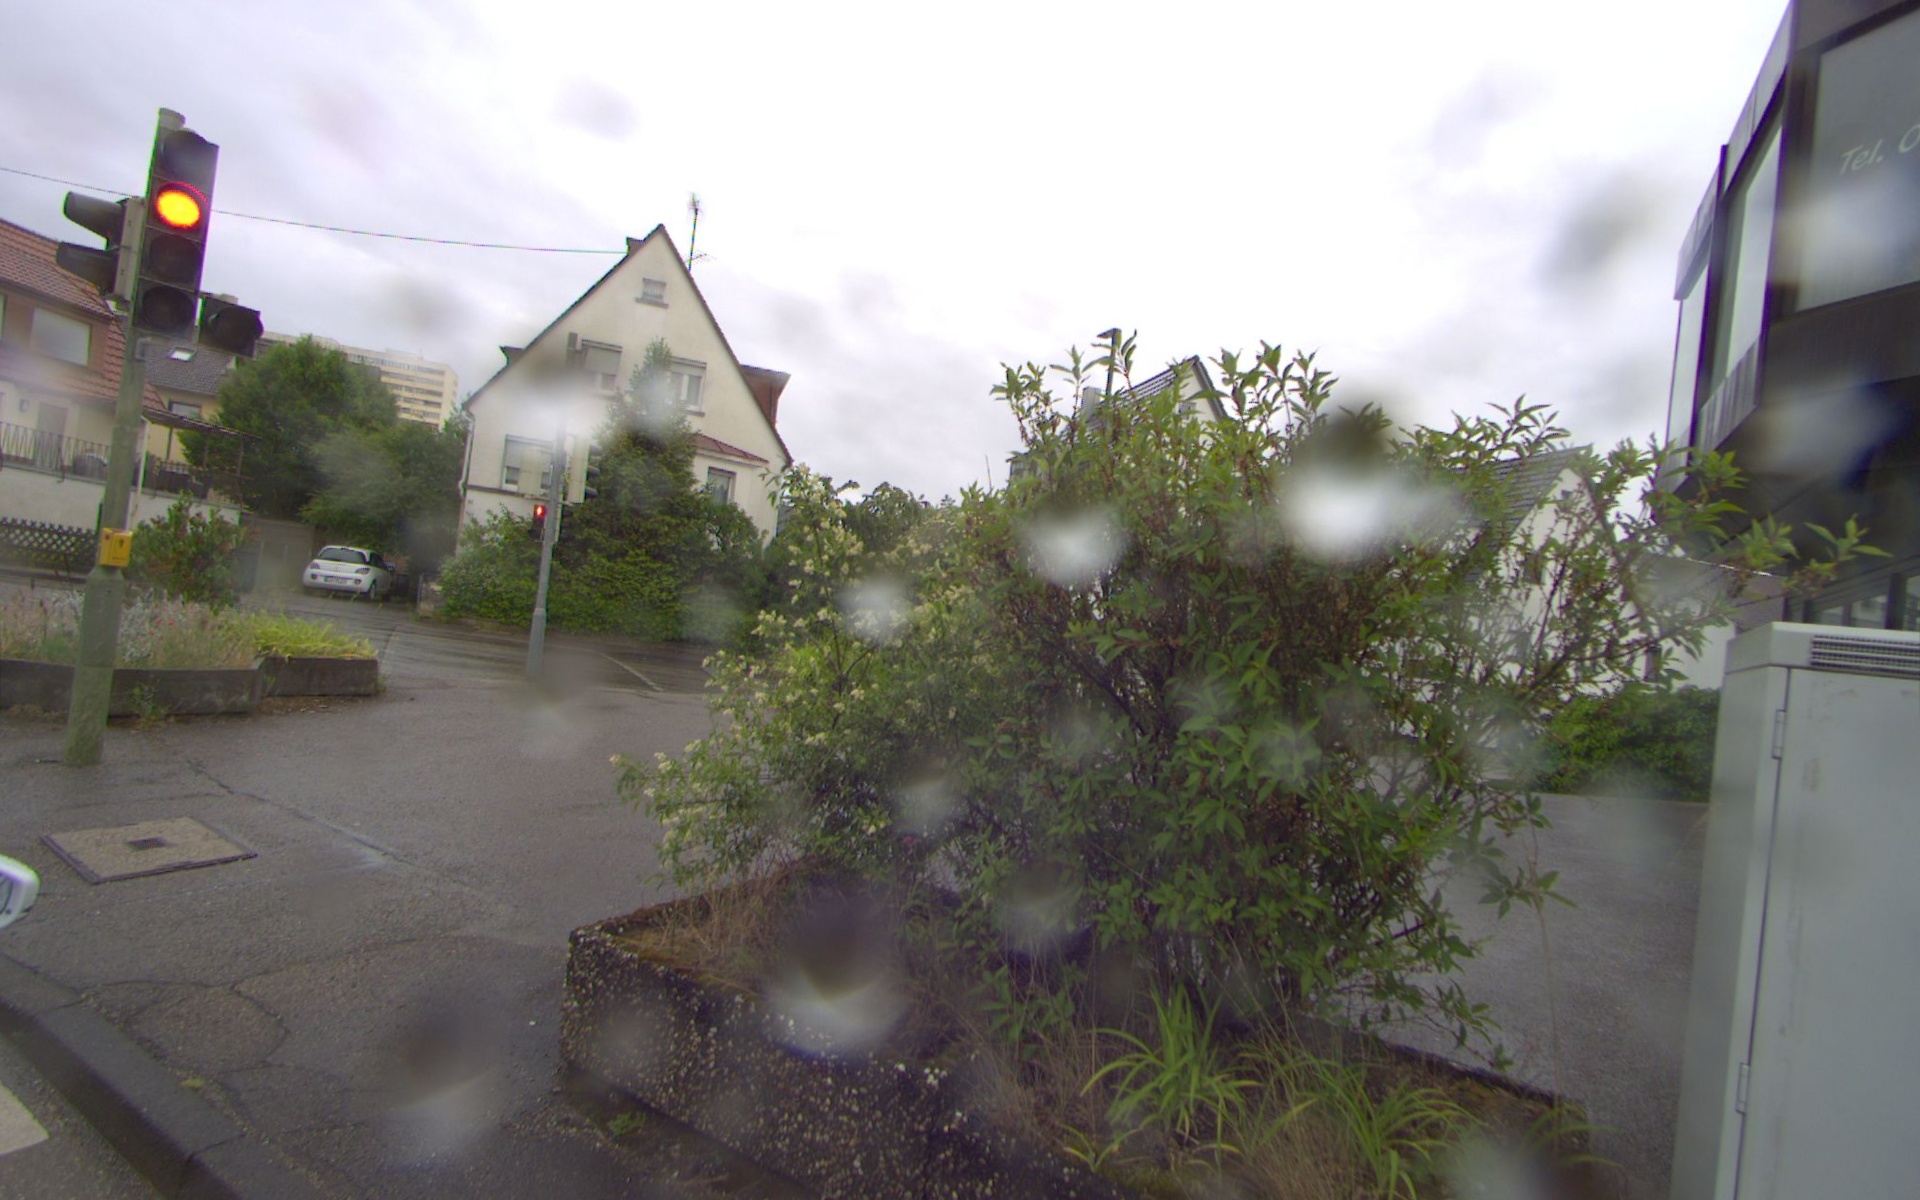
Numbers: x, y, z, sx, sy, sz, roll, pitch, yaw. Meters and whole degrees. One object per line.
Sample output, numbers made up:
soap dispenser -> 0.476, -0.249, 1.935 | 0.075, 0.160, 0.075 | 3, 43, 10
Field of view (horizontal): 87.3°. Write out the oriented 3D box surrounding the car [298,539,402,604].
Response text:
car -> -17.704, -0.805, 29.385 | 1.722, 1.532, 3.982 | 9, -2, -21
